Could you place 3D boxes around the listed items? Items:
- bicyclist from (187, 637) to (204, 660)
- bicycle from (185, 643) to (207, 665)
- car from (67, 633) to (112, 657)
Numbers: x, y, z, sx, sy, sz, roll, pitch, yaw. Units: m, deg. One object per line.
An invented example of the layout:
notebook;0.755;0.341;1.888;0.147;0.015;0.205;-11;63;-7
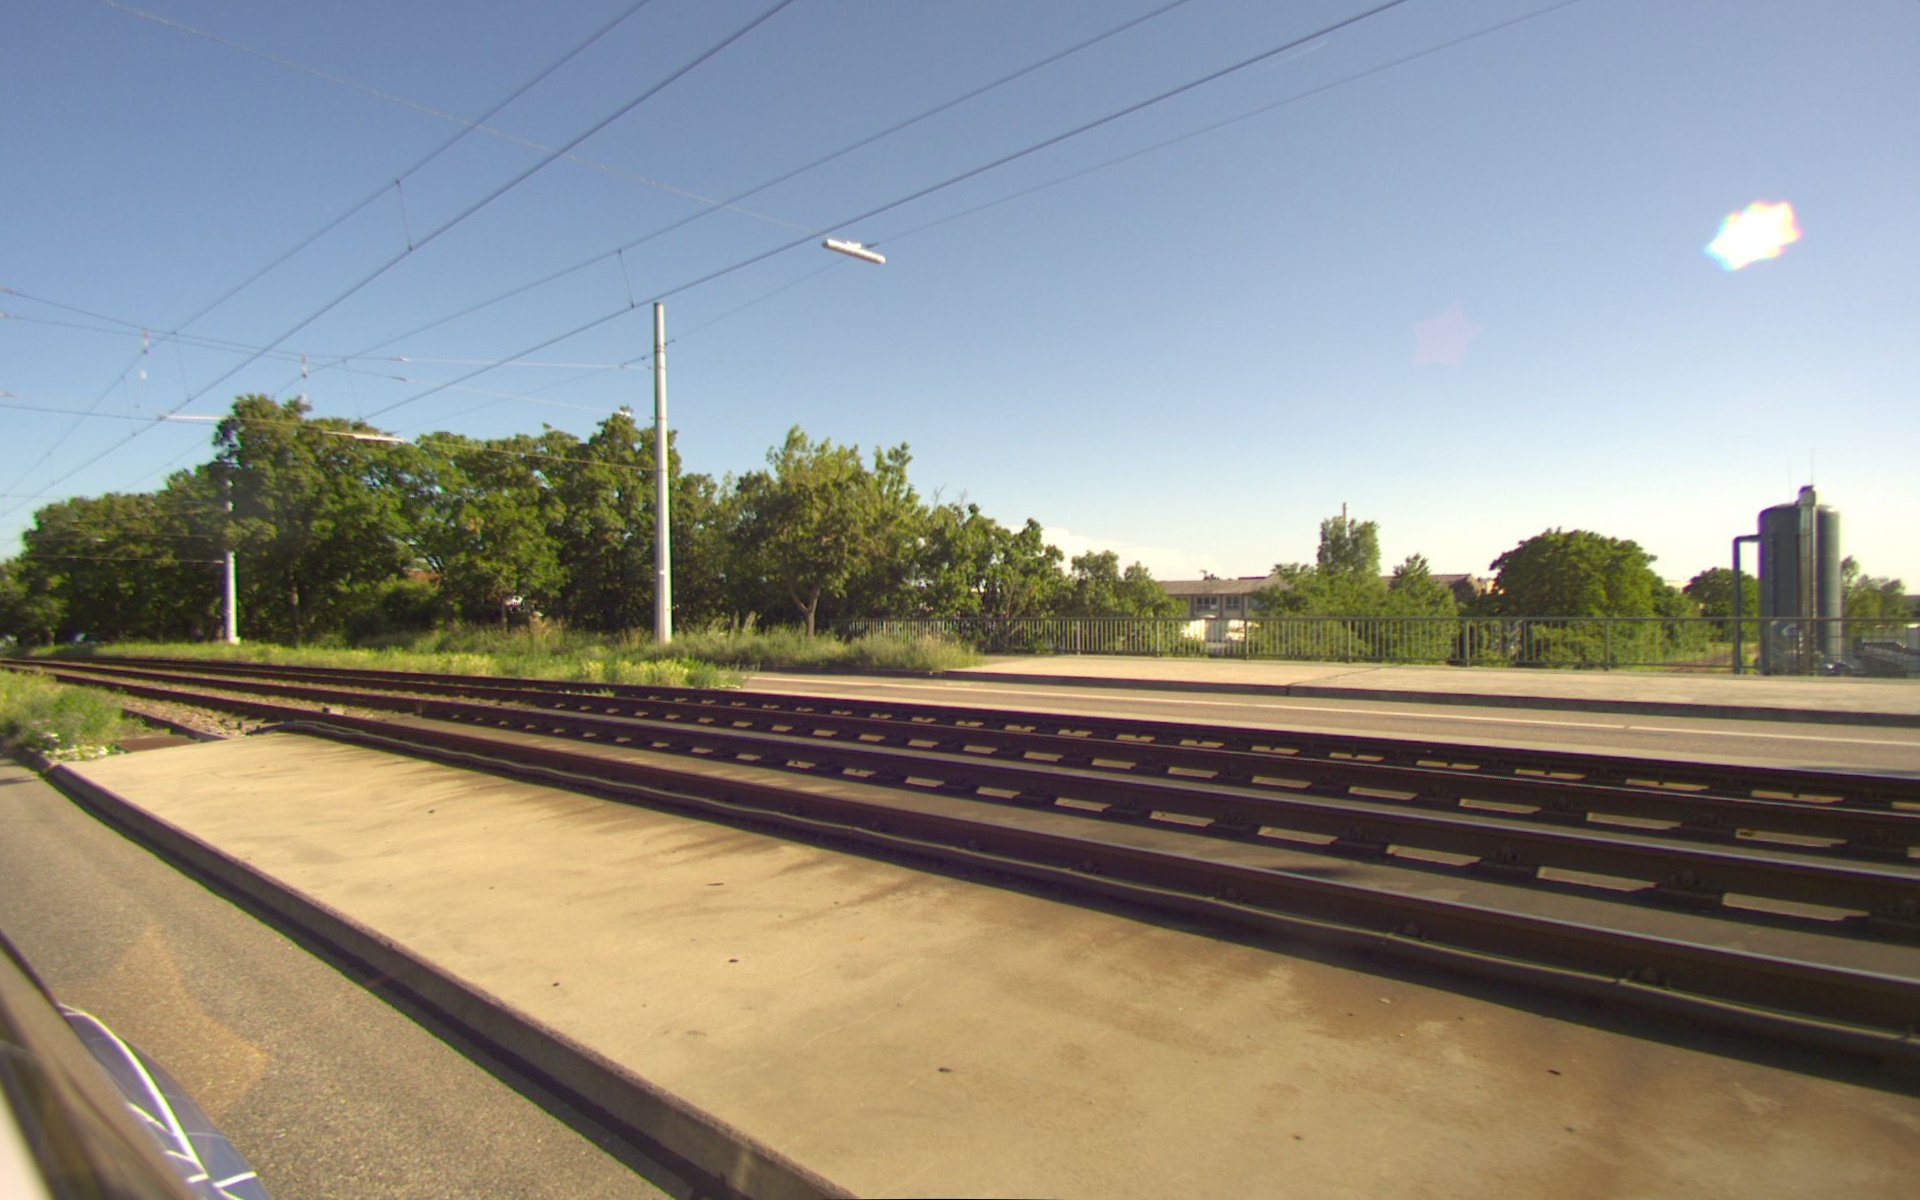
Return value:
bicyclist;-45.815;2.916;60.650;0.987;1.320;0.576;-3;-1;42
bicycle;-45.808;3.254;60.656;2.426;1.271;0.583;-3;-1;42
car;-60.061;3.098;69.820;4.405;1.500;1.790;-3;0;42
